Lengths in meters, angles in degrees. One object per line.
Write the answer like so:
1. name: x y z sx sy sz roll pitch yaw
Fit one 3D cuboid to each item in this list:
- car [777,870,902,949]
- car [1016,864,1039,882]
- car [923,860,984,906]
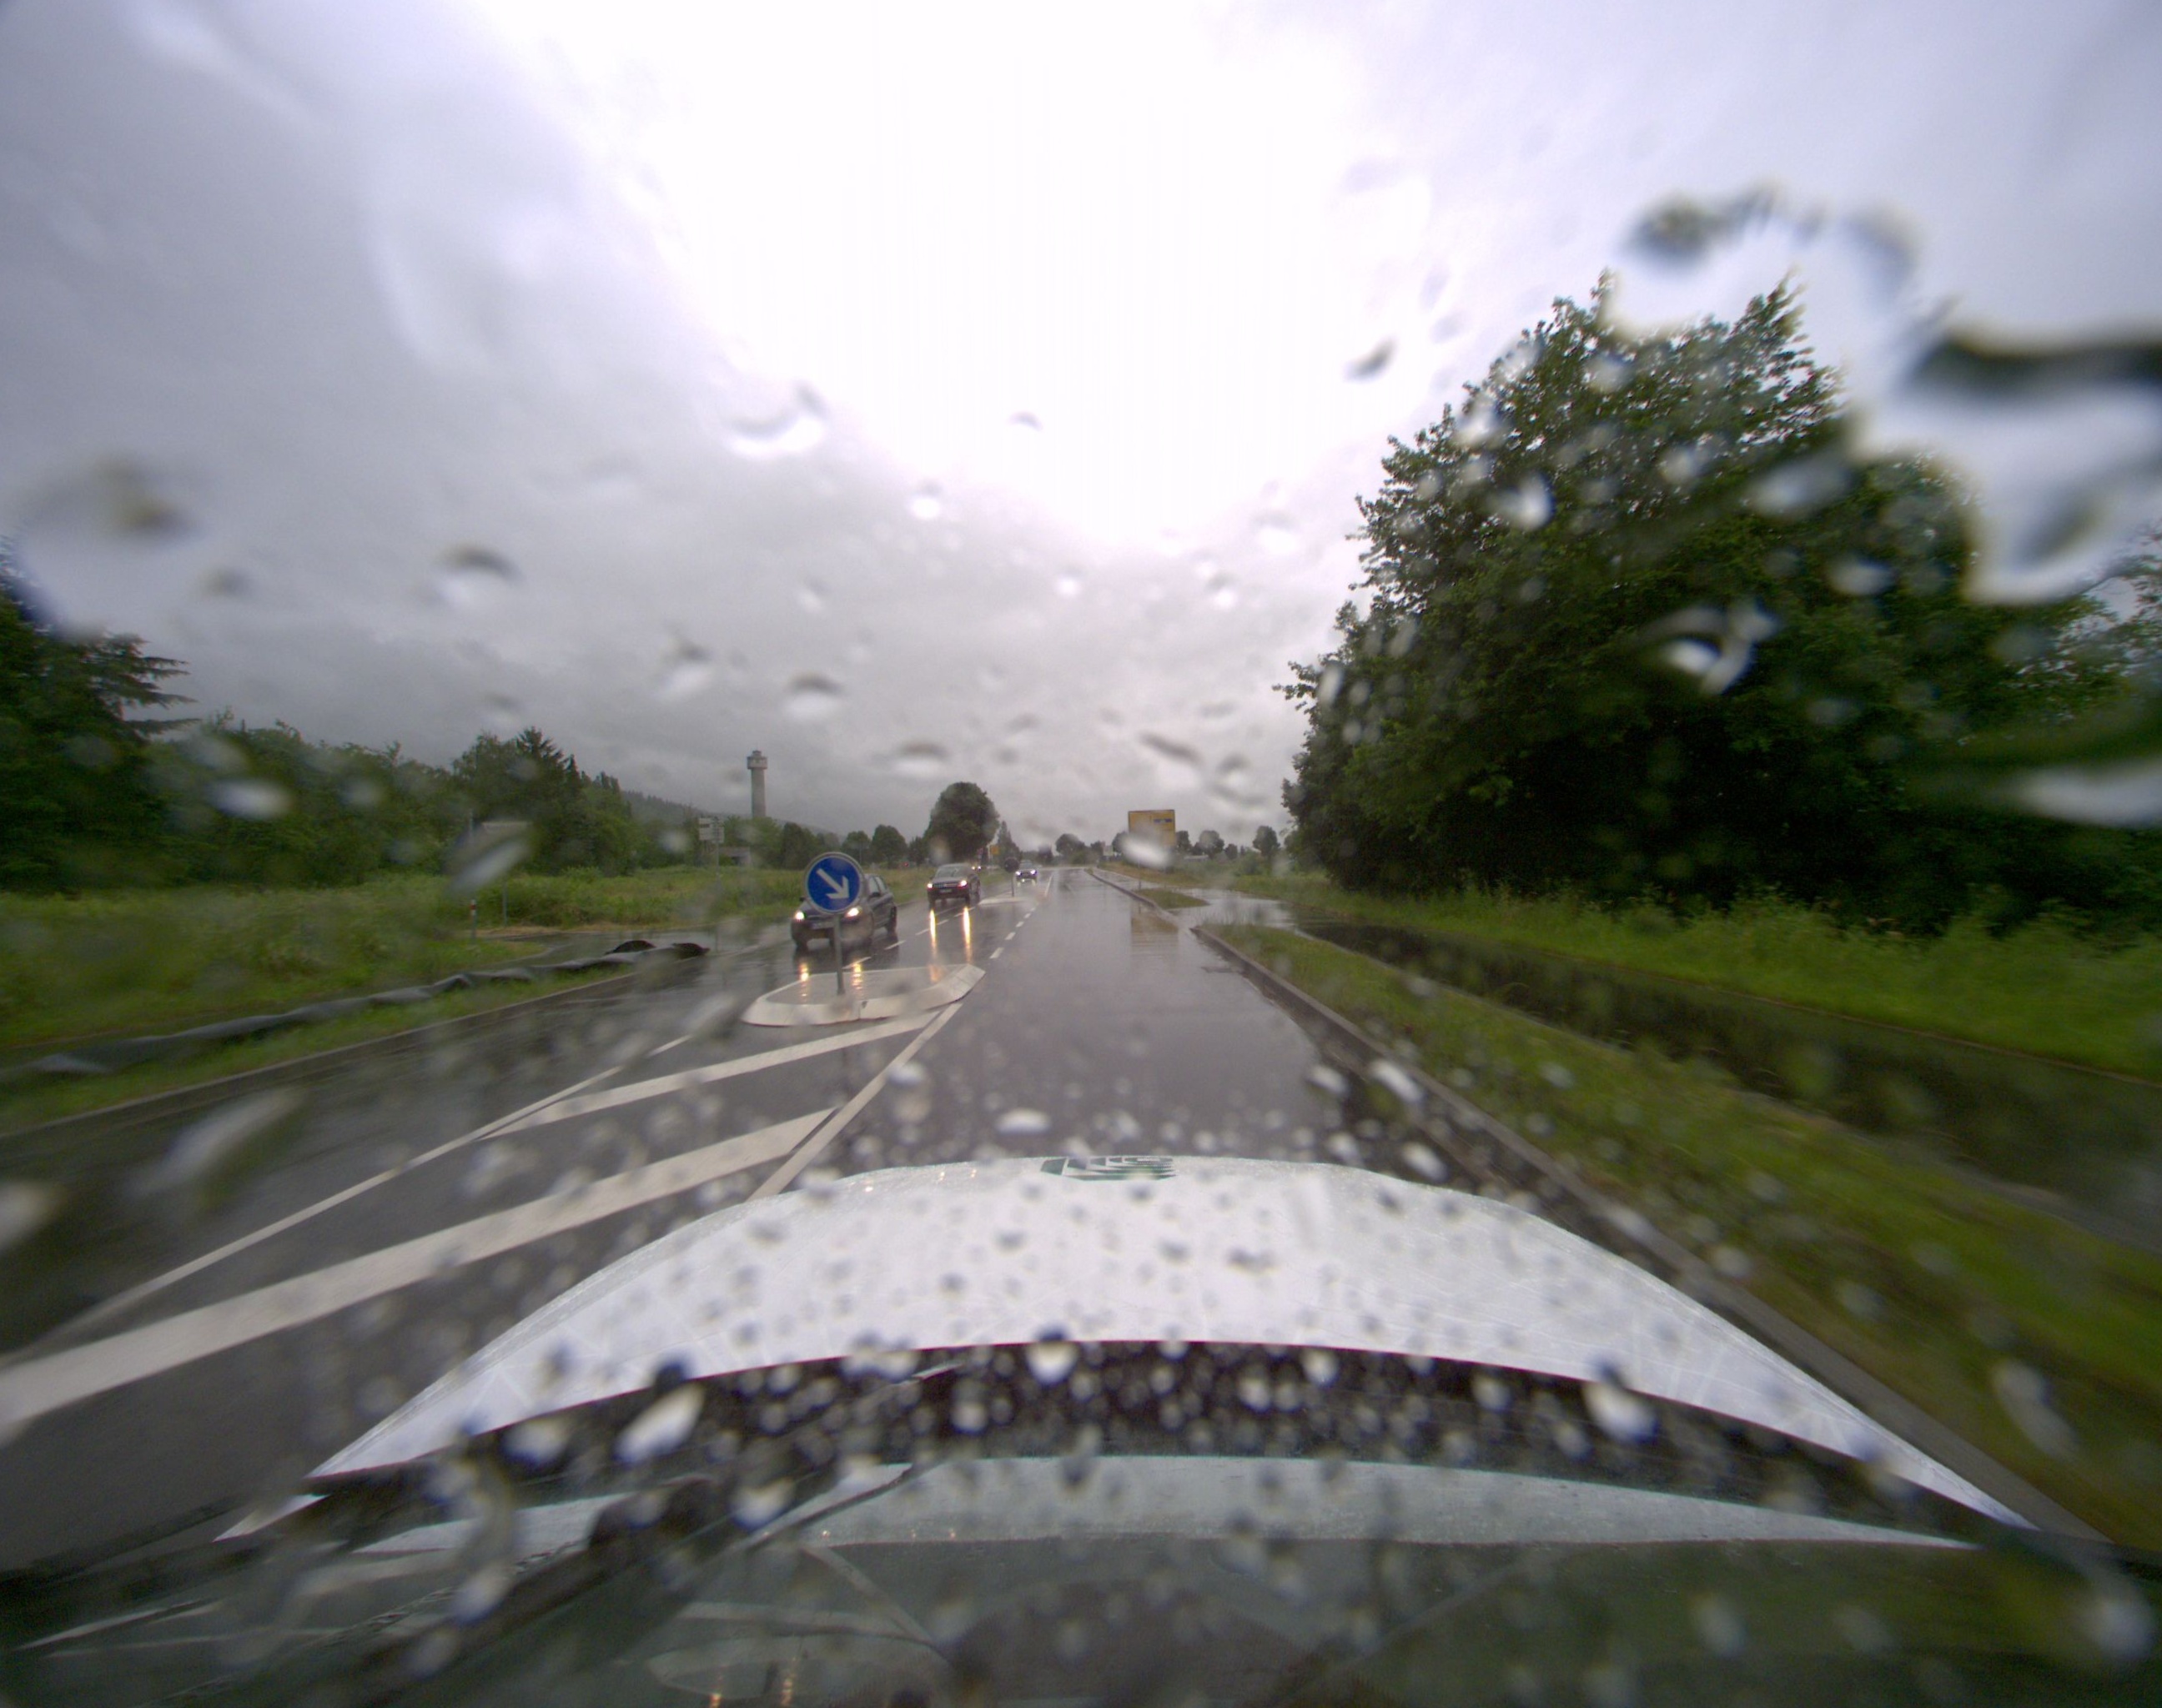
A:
1. car: -5.409 1.193 18.745 1.736 1.445 3.680 -4 0 -1
2. car: -4.738 1.649 72.794 1.691 1.402 3.767 -5 0 0
3. car: -5.548 1.213 35.890 1.735 1.718 4.269 -4 0 2
